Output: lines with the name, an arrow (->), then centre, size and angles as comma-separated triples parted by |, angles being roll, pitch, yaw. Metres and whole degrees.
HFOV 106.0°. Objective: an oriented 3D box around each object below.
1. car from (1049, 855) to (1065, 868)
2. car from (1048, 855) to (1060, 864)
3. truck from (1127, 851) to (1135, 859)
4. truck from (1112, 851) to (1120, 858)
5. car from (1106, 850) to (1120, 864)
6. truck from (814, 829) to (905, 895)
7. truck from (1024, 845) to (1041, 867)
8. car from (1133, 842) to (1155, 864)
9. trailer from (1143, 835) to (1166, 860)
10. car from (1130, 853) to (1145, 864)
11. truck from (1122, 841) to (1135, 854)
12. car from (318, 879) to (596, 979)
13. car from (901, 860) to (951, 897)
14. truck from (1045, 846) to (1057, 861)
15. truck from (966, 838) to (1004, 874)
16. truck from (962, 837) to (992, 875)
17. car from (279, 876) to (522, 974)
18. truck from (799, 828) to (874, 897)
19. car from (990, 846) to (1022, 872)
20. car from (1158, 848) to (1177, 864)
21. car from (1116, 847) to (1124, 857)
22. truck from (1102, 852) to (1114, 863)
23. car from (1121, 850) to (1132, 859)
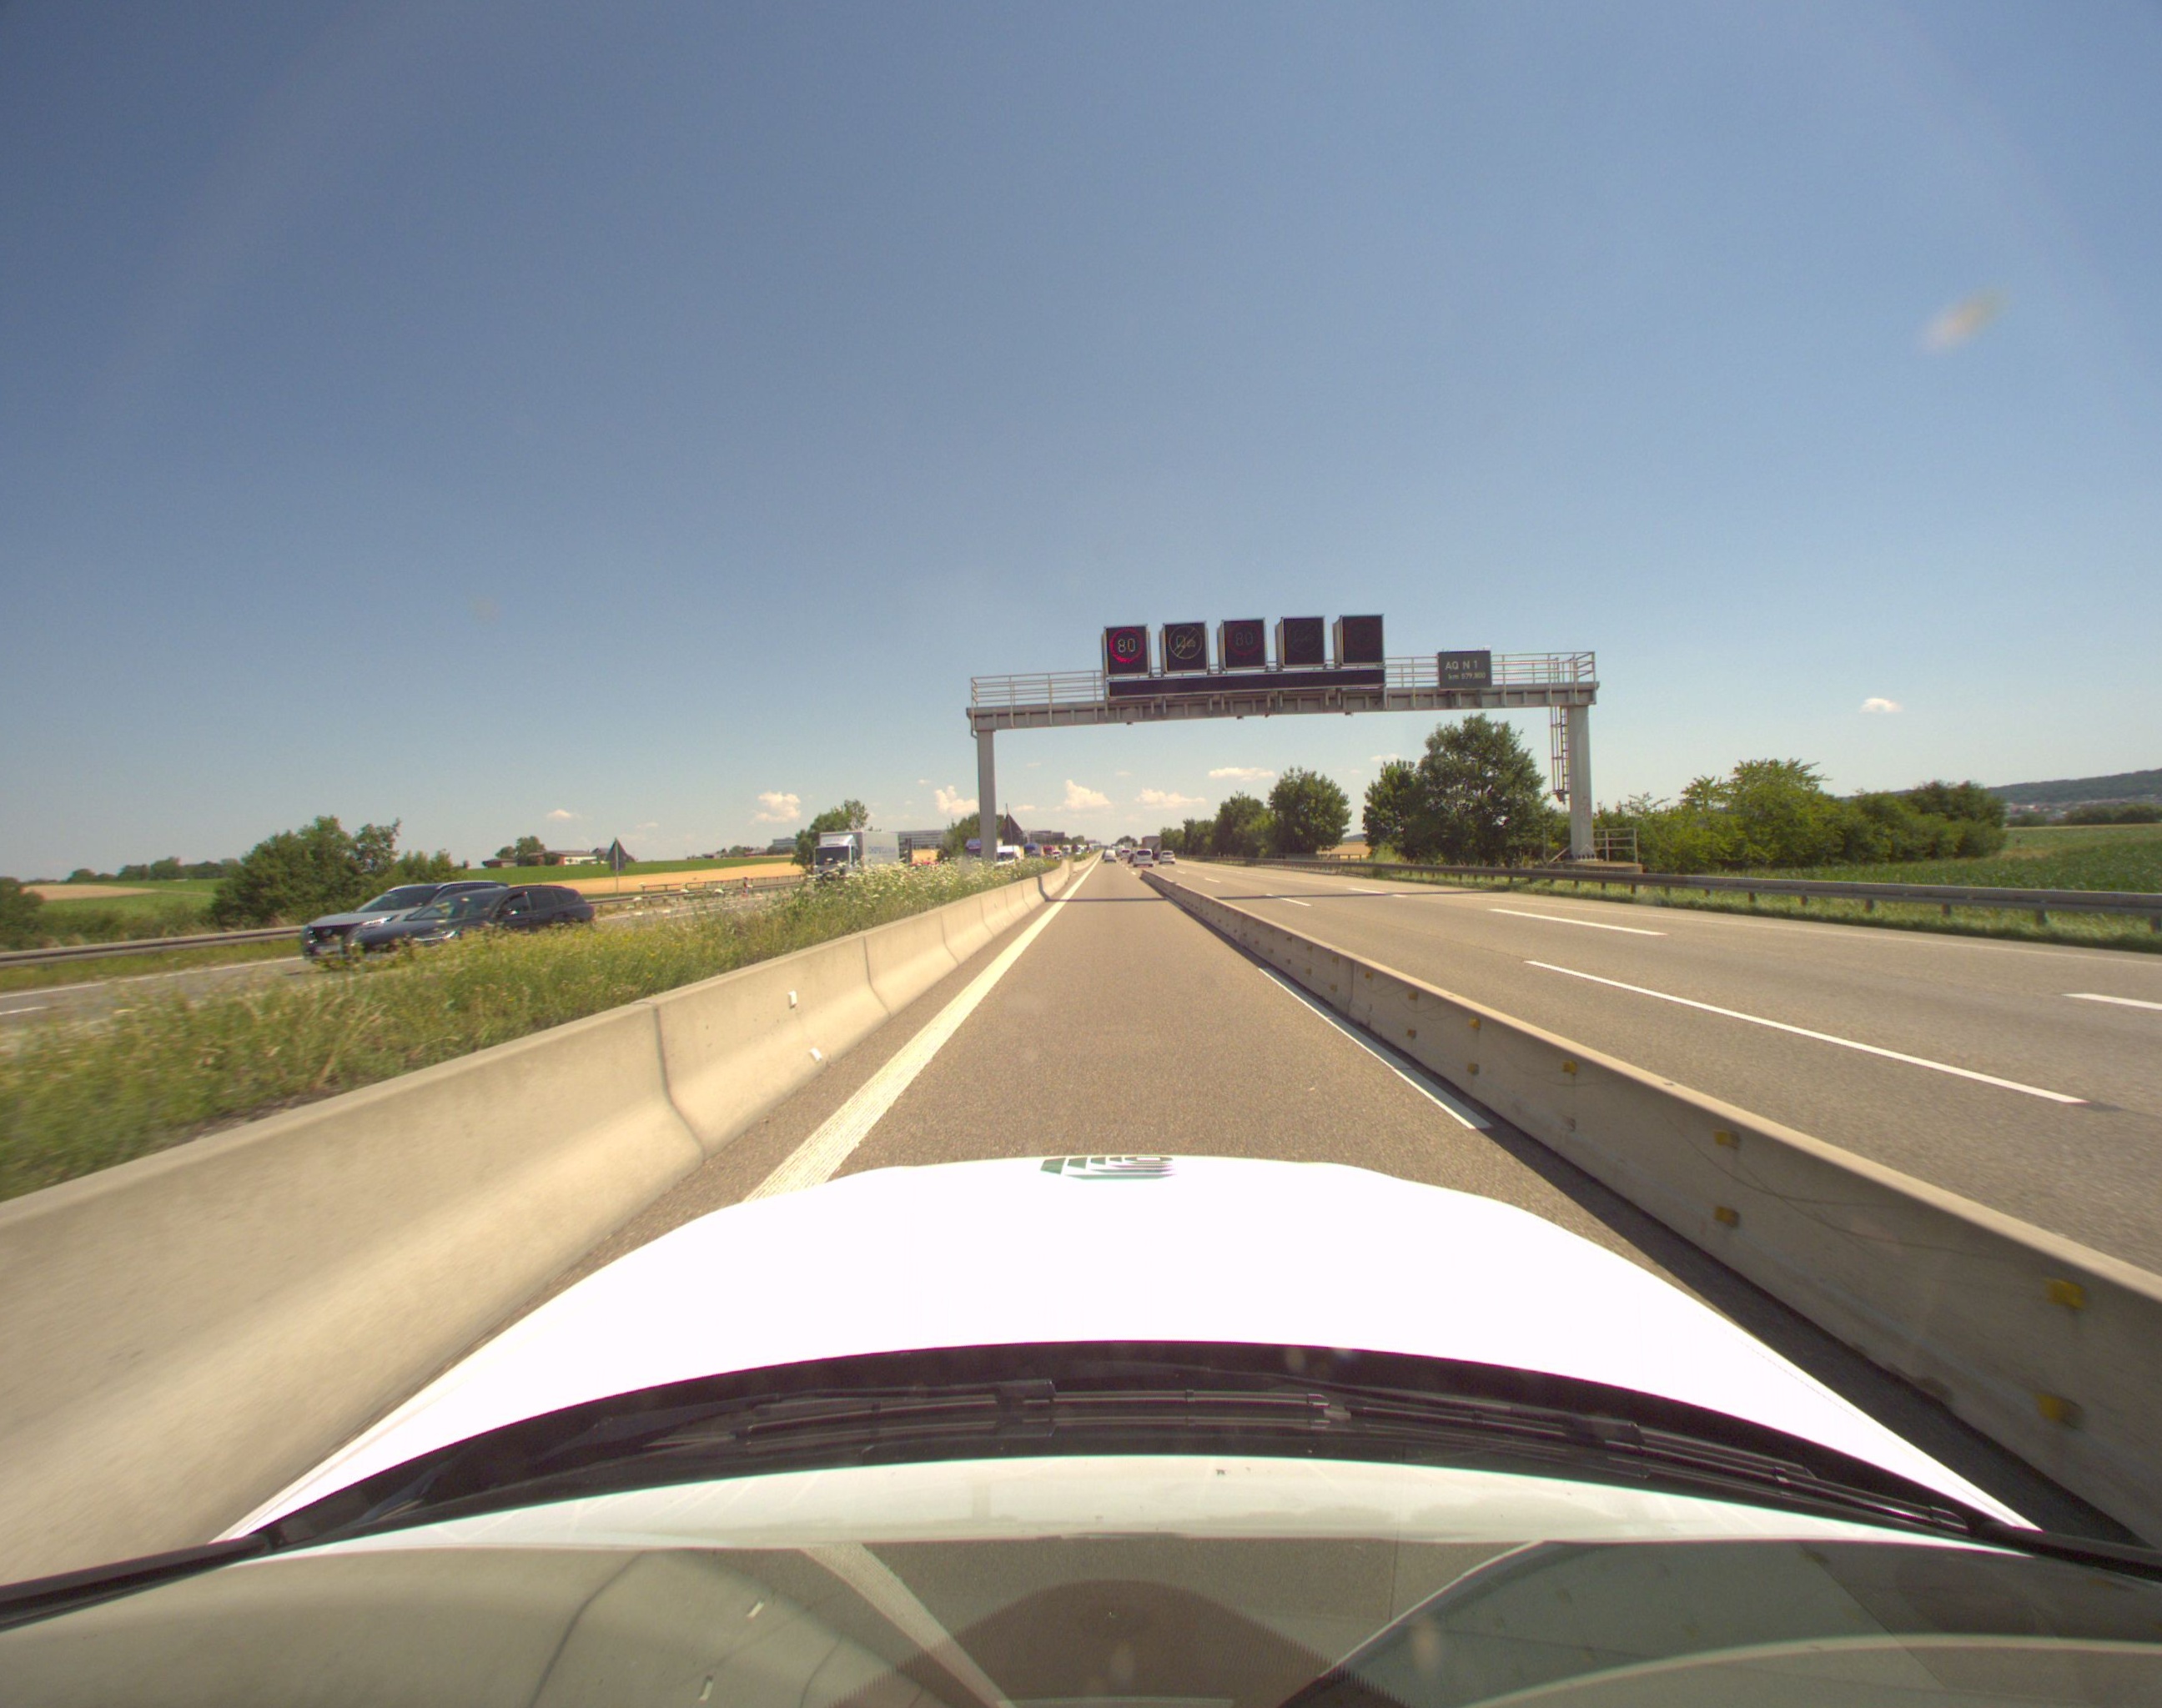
car -> -3.030, 0.931, 103.432 | 1.678, 1.566, 4.563 | -3, 0, 1
car -> -6.295, 1.357, 189.698 | 2.175, 2.013, 5.768 | -2, 0, 4
truck -> 14.183, 0.221, 230.081 | 1.986, 2.013, 4.001 | -2, 0, 1
truck -> 9.612, 0.191, 225.865 | 1.986, 2.013, 4.001 | -2, 0, 1
car -> 4.844, 0.423, 122.754 | 1.986, 2.014, 4.001 | -2, -1, 2
truck -> -13.676, 0.442, 51.083 | 2.688, 3.620, 8.793 | -4, 0, 3
truck -> -10.060, 0.466, 170.357 | 2.854, 4.350, 5.588 | -3, 0, 2
car -> 6.580, -0.090, 85.275 | 1.986, 2.120, 4.001 | -2, -1, 2
trailer -> 12.445, -1.057, 138.877 | 3.265, 3.967, 9.115 | -2, -1, 2
car -> 7.734, 0.571, 111.765 | 1.767, 1.447, 4.001 | -2, -1, 2
truck -> 15.366, -2.185, 262.900 | 3.802, 3.904, 9.583 | -2, 0, 1
car -> -11.299, 1.274, 15.227 | 1.827, 1.324, 4.279 | -4, 0, -1
car -> -7.340, 1.139, 38.832 | 1.553, 1.570, 3.705 | -2, 0, 1
truck -> -8.546, -0.180, 229.660 | 2.846, 3.855, 4.001 | -3, 0, 1
truck -> -12.361, 0.244, 106.556 | 2.583, 4.238, 14.127 | -5, 0, 2
truck -> -12.573, 0.228, 99.074 | 2.583, 4.238, 4.856 | -5, 0, 1
car -> -14.821, 1.461, 18.103 | 1.826, 1.719, 4.081 | -4, 0, 1
truck -> -13.892, 0.466, 46.547 | 2.687, 3.587, 4.003 | -4, 0, 3
car -> -6.083, 0.404, 66.257 | 1.986, 1.946, 4.796 | -2, 0, 1
car -> 10.765, 0.267, 101.308 | 1.986, 1.794, 4.001 | -2, -1, 2
car -> 9.287, -0.529, 195.861 | 1.767, 2.392, 4.001 | -2, -1, 2
truck -> 5.341, 0.650, 162.503 | 2.204, 2.013, 4.972 | -2, 0, 1
car -> 8.263, 0.135, 147.804 | 1.767, 1.447, 4.001 | -2, -1, 2
